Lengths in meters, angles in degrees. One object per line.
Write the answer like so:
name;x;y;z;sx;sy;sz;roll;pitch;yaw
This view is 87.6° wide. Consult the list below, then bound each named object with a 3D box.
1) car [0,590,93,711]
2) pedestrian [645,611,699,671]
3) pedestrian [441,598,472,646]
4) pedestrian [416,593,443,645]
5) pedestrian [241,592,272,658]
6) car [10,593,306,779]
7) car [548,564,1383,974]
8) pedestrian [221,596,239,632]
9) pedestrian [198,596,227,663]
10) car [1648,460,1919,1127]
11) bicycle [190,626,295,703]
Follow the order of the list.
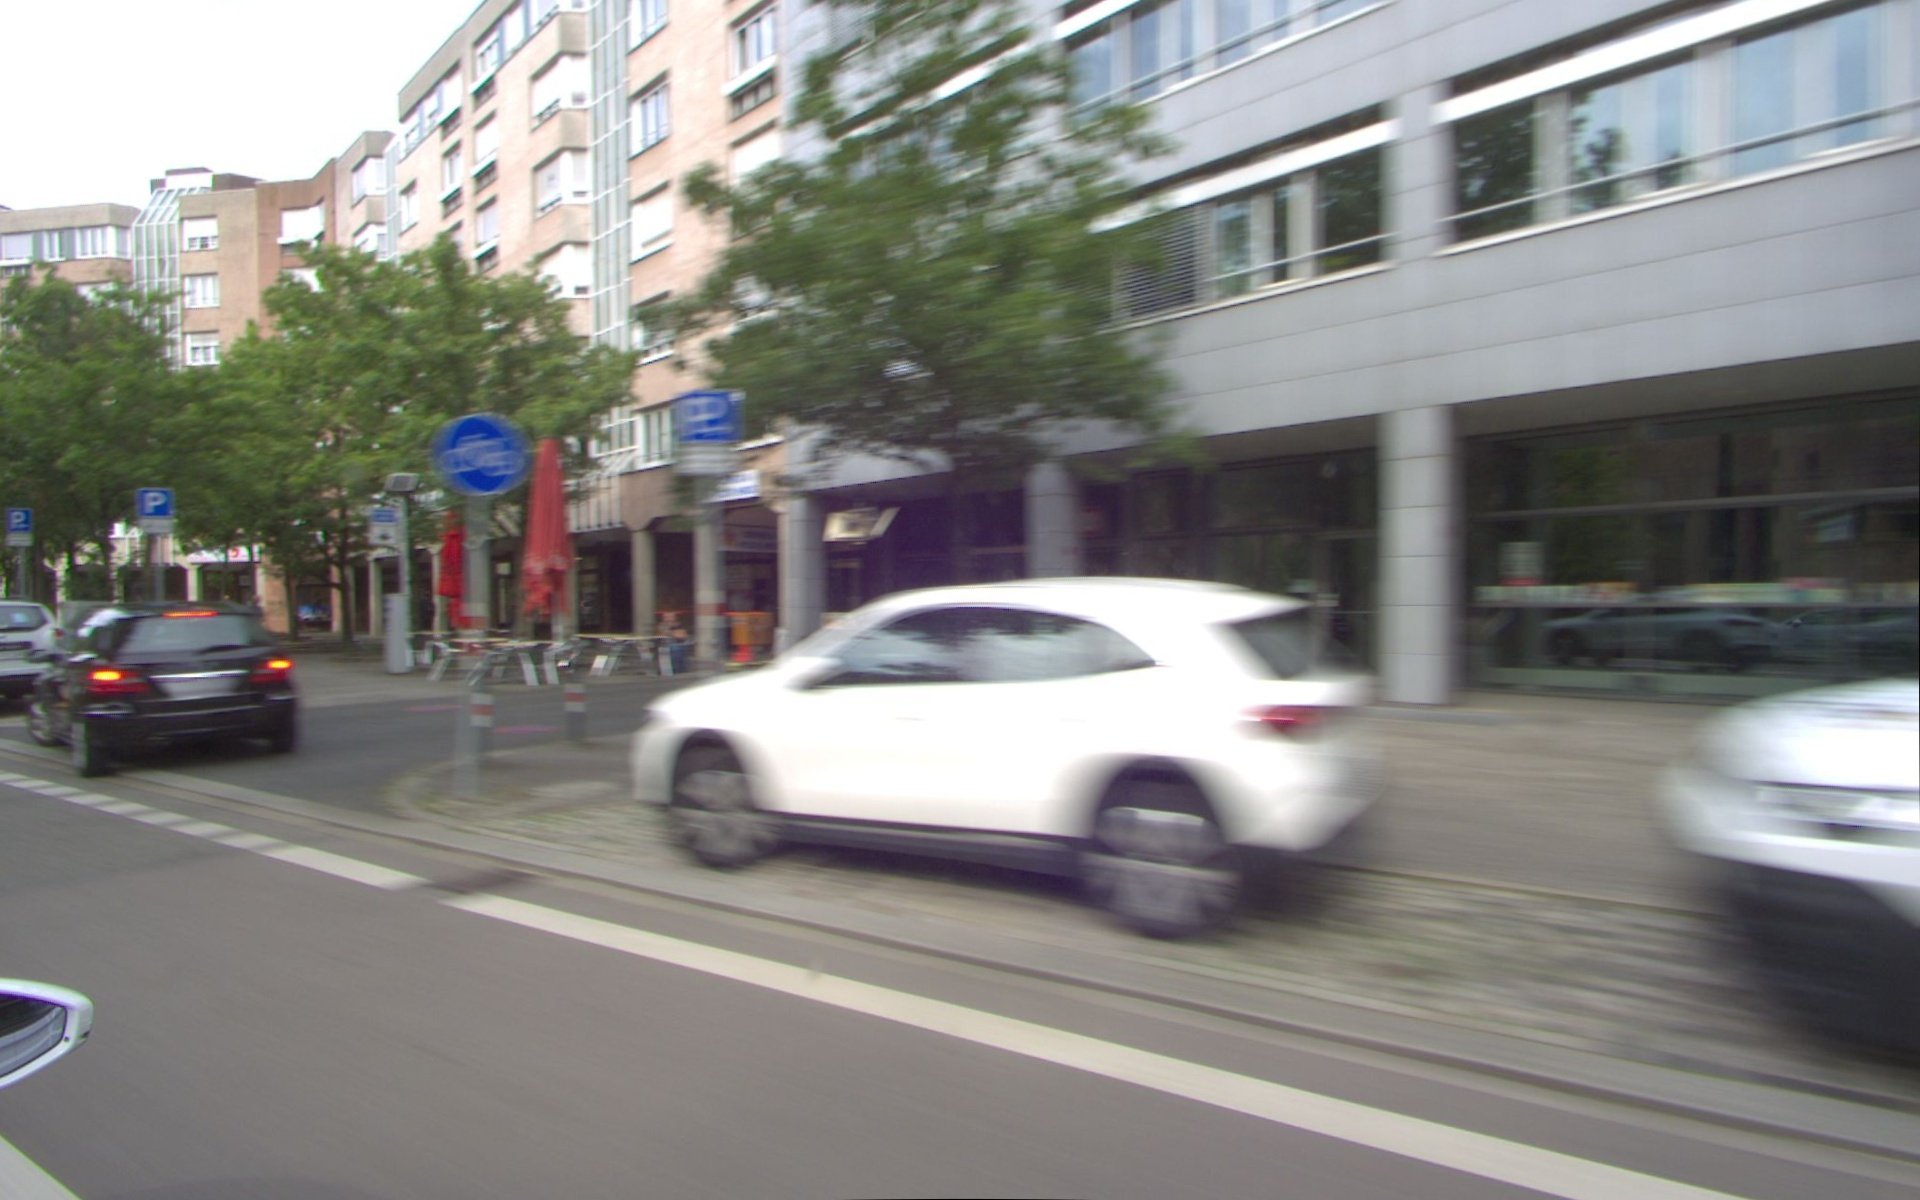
car;-15.025;0.710;15.224;4.108;1.676;1.855;0;1;36
pedestrian;-5.826;0.814;20.237;0.691;1.172;0.816;1;1;44
pedestrian;-16.841;0.735;33.469;0.705;1.576;0.791;-1;2;-45
pedestrian;-17.370;0.614;32.777;0.674;1.684;0.602;0;1;42
pedestrian;-17.209;0.613;24.485;0.508;1.590;0.478;0;1;-22
car;-8.866;0.761;10.936;4.255;1.598;1.765;0;2;41
car;-0.013;0.653;5.922;4.510;1.625;1.992;0;3;27
pedestrian;-34.251;0.670;46.991;0.842;1.684;0.530;0;1;45
pedestrian;-17.092;0.662;22.884;0.497;1.499;0.409;1;1;39
car;4.733;0.521;2.689;4.578;1.890;1.823;0;2;30
bicycle;-10.512;0.914;14.648;1.839;1.043;0.604;0;1;33
